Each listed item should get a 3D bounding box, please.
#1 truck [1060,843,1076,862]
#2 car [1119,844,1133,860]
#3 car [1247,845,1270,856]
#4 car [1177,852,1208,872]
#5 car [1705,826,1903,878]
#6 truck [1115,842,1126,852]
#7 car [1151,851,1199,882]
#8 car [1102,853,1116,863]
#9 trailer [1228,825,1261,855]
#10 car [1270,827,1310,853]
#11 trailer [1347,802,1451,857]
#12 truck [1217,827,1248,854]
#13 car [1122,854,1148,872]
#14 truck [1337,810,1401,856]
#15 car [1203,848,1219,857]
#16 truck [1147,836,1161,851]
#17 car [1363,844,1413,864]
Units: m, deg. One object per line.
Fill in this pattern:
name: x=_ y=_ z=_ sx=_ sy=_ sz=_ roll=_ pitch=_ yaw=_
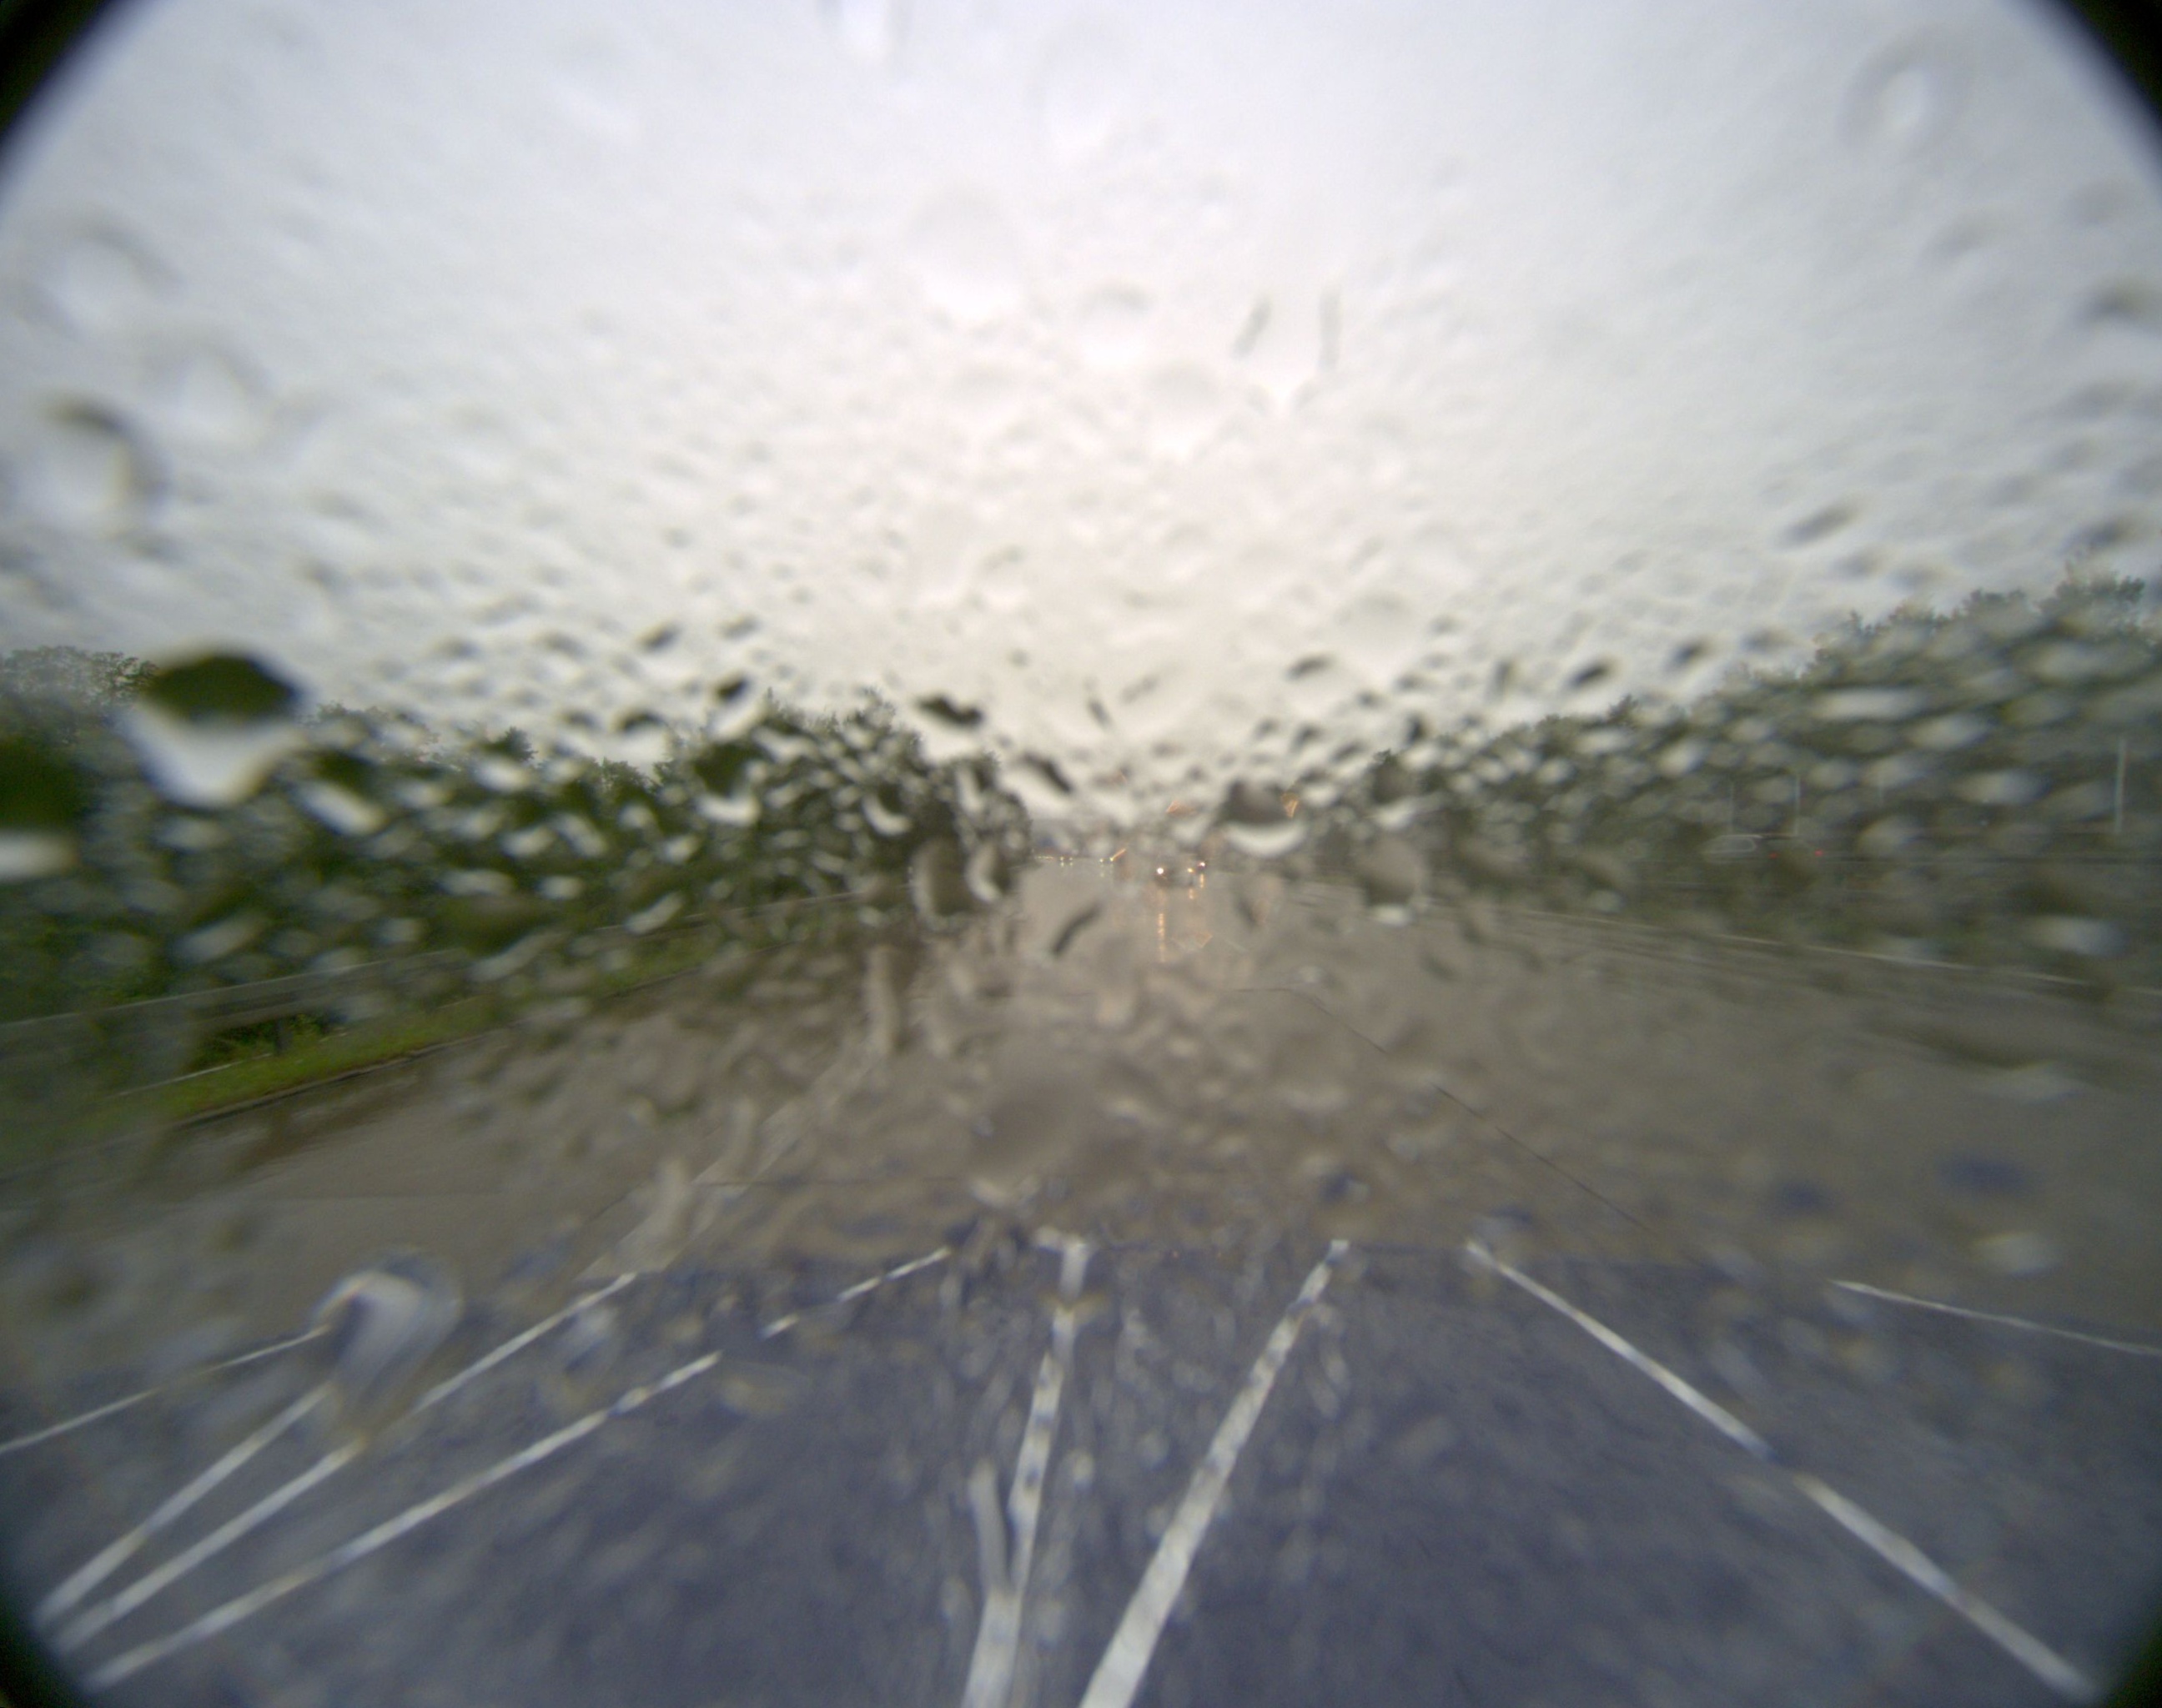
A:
truck: x=-2.974 y=-0.269 z=173.534 sx=3.058 sy=3.994 sz=10.045 roll=0 pitch=-2 yaw=2
car: x=7.521 y=-0.337 z=127.370 sx=2.045 sy=2.616 sz=6.403 roll=0 pitch=0 yaw=0
car: x=21.657 y=-0.421 z=92.979 sx=1.757 sy=1.331 sz=4.424 roll=-3 pitch=0 yaw=0
car: x=8.438 y=0.610 z=57.718 sx=1.671 sy=1.426 sz=4.349 roll=-1 pitch=0 yaw=-1
car: x=21.376 y=-0.061 z=22.764 sx=1.757 sy=1.296 sz=4.343 roll=-3 pitch=0 yaw=0
truck: x=13.933 y=-2.331 z=266.107 sx=2.781 sy=3.296 sz=11.513 roll=-3 pitch=0 yaw=-2
car: x=4.596 y=0.587 z=37.631 sx=1.934 sy=1.426 sz=4.518 roll=0 pitch=0 yaw=1
car: x=4.084 y=0.630 z=111.729 sx=1.934 sy=1.426 sz=4.518 roll=0 pitch=0 yaw=1
trailer: x=24.411 y=-2.005 z=113.896 sx=2.855 sy=4.130 sz=8.524 roll=-3 pitch=0 yaw=0
car: x=21.815 y=-1.412 z=79.632 sx=2.188 sy=2.552 sz=7.445 roll=-3 pitch=0 yaw=1
trailer: x=25.324 y=-1.783 z=61.589 sx=2.774 sy=3.779 sz=13.778 roll=-3 pitch=0 yaw=1
truck: x=24.506 y=-2.090 z=123.264 sx=2.855 sy=4.130 sz=10.178 roll=-3 pitch=0 yaw=0
car: x=4.546 y=0.718 z=64.711 sx=1.934 sy=1.426 sz=4.517 roll=0 pitch=0 yaw=0
truck: x=25.480 y=-1.780 z=67.663 sx=2.781 sy=3.779 sz=7.680 roll=-3 pitch=0 yaw=1
car: x=20.701 y=-0.288 z=120.953 sx=1.757 sy=1.331 sz=4.424 roll=-3 pitch=0 yaw=0
truck: x=19.684 y=-2.725 z=204.778 sx=2.591 sy=3.679 sz=9.798 roll=-3 pitch=0 yaw=-1
car: x=21.804 y=-0.021 z=54.200 sx=1.757 sy=1.296 sz=4.343 roll=-3 pitch=0 yaw=0
